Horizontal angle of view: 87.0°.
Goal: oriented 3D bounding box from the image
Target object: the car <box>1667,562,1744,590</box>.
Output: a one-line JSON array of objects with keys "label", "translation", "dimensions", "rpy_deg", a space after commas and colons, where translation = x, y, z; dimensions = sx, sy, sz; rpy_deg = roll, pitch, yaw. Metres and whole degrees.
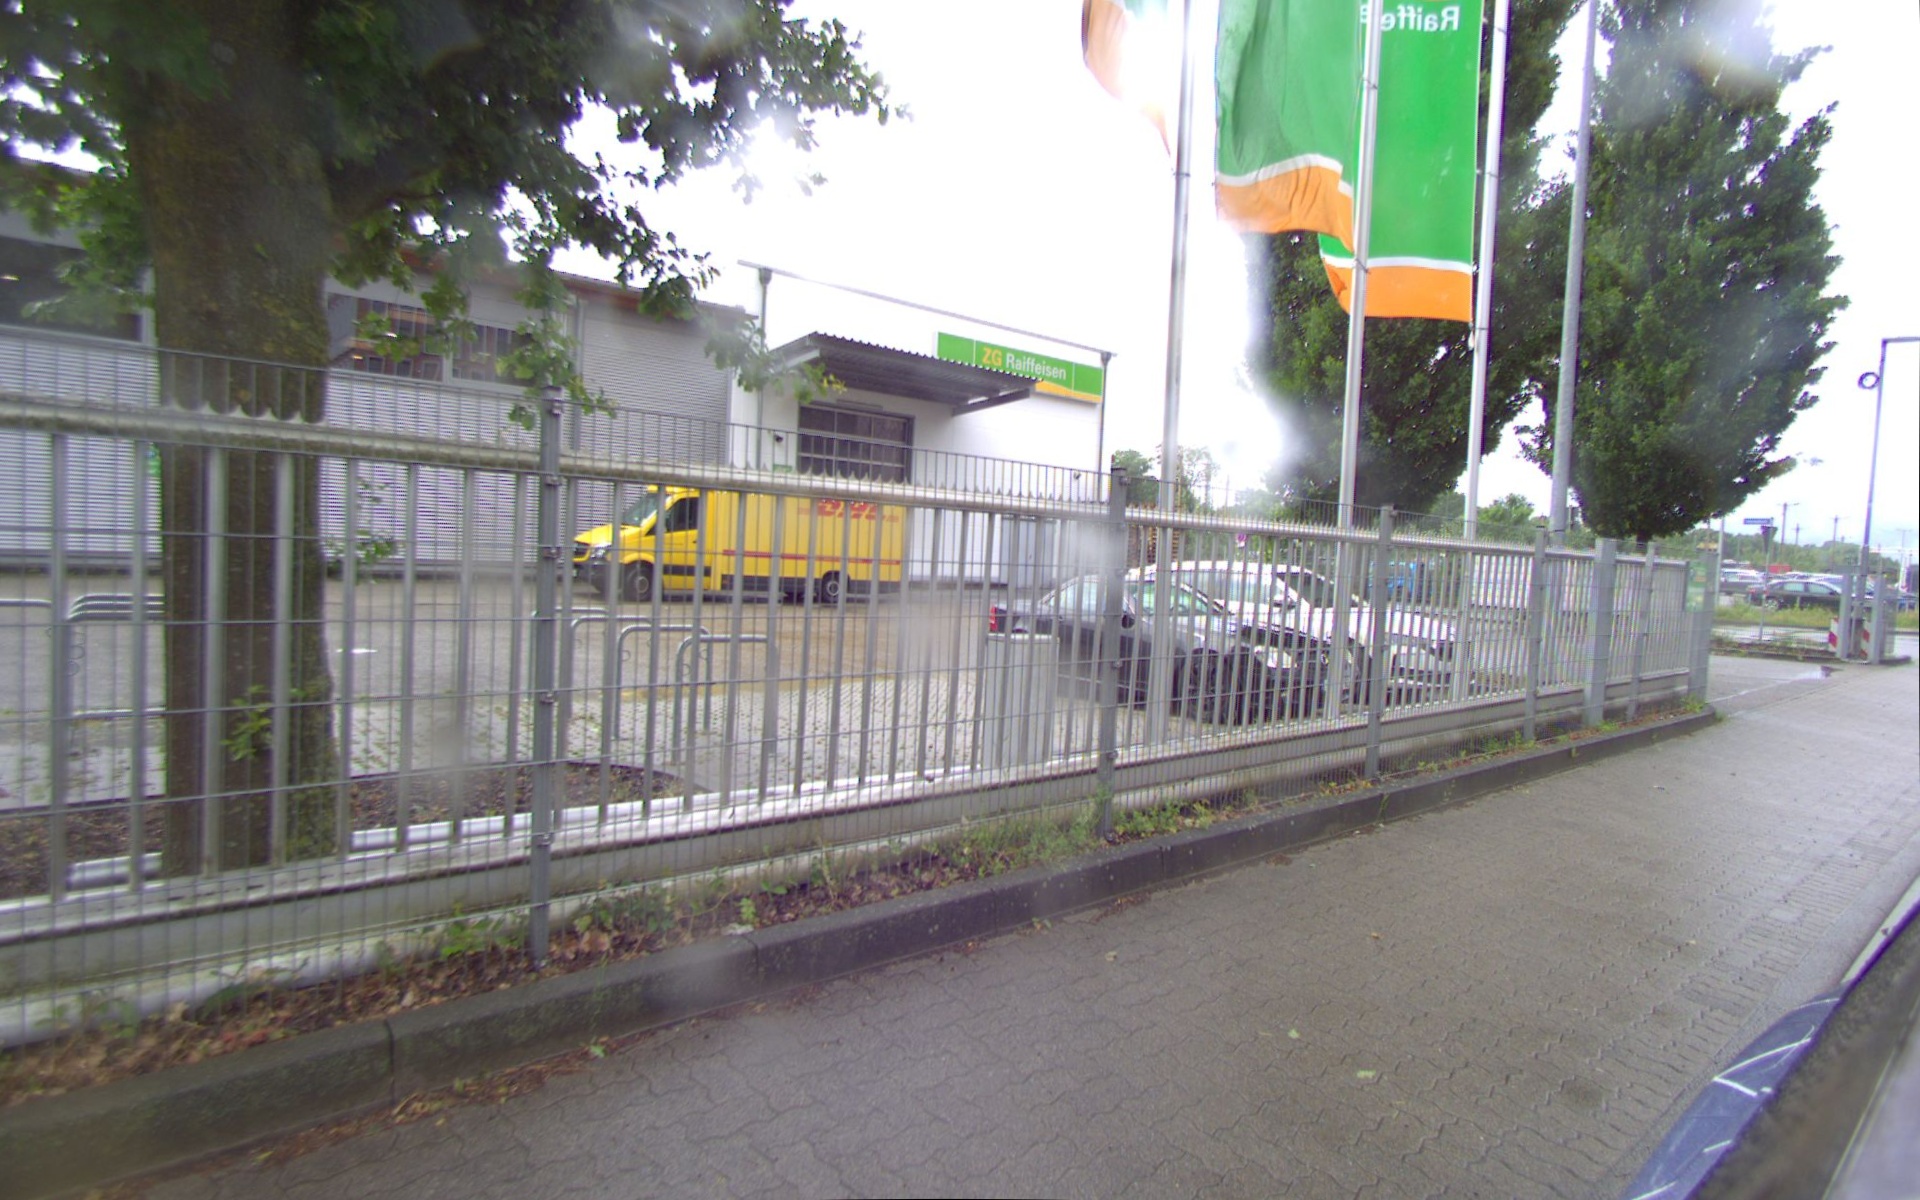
[{"label": "car", "translation": [51.811, -1.697, 70.411], "dimensions": [1.892, 1.500, 3.845], "rpy_deg": [-2, 8, -37]}]

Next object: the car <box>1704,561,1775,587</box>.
[{"label": "car", "translation": [59.808, -2.019, 77.683], "dimensions": [1.753, 1.601, 3.919], "rpy_deg": [-2, 8, -37]}]

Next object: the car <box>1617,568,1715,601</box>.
[{"label": "car", "translation": [43.439, -0.984, 62.339], "dimensions": [1.987, 1.736, 4.623], "rpy_deg": [-3, 5, -45]}]

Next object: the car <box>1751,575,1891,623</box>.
[{"label": "car", "translation": [35.519, -0.081, 41.815], "dimensions": [4.219, 1.416, 1.862], "rpy_deg": [9, 8, 42]}]

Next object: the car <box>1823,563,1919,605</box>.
[{"label": "car", "translation": [45.316, -0.794, 49.158], "dimensions": [2.088, 1.755, 4.700], "rpy_deg": [-1, 6, -35]}]

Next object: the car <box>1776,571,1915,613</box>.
[{"label": "car", "translation": [37.964, -0.399, 43.464], "dimensions": [1.857, 1.527, 4.193], "rpy_deg": [-2, 5, -39]}]

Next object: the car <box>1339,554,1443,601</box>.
[{"label": "car", "translation": [19.832, -1.060, 46.683], "dimensions": [1.799, 1.945, 3.996], "rpy_deg": [0, 4, -41]}]

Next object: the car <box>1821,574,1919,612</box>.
[{"label": "car", "translation": [42.715, -0.338, 46.668], "dimensions": [1.787, 1.535, 4.307], "rpy_deg": [-2, 5, -39]}]

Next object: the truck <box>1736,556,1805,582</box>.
[{"label": "truck", "translation": [86.537, -3.292, 108.074], "dimensions": [2.115, 2.395, 5.303], "rpy_deg": [-1, 5, -40]}]

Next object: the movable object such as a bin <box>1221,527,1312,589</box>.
[{"label": "movable object such as a bin", "translation": [15.957, -2.208, 52.841], "dimensions": [1.965, 3.028, 3.997], "rpy_deg": [0, 4, -40]}]

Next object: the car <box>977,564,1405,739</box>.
[{"label": "car", "translation": [2.082, 0.349, 10.029], "dimensions": [1.591, 1.271, 3.947], "rpy_deg": [0, 3, -41]}]

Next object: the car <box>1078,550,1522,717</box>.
[{"label": "car", "translation": [3.813, 0.234, 12.125], "dimensions": [1.857, 1.480, 4.713], "rpy_deg": [0, 4, -41]}]

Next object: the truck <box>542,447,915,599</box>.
[{"label": "truck", "translation": [-4.645, -1.490, 21.294], "dimensions": [7.278, 2.690, 2.309], "rpy_deg": [0, 5, -37]}]
